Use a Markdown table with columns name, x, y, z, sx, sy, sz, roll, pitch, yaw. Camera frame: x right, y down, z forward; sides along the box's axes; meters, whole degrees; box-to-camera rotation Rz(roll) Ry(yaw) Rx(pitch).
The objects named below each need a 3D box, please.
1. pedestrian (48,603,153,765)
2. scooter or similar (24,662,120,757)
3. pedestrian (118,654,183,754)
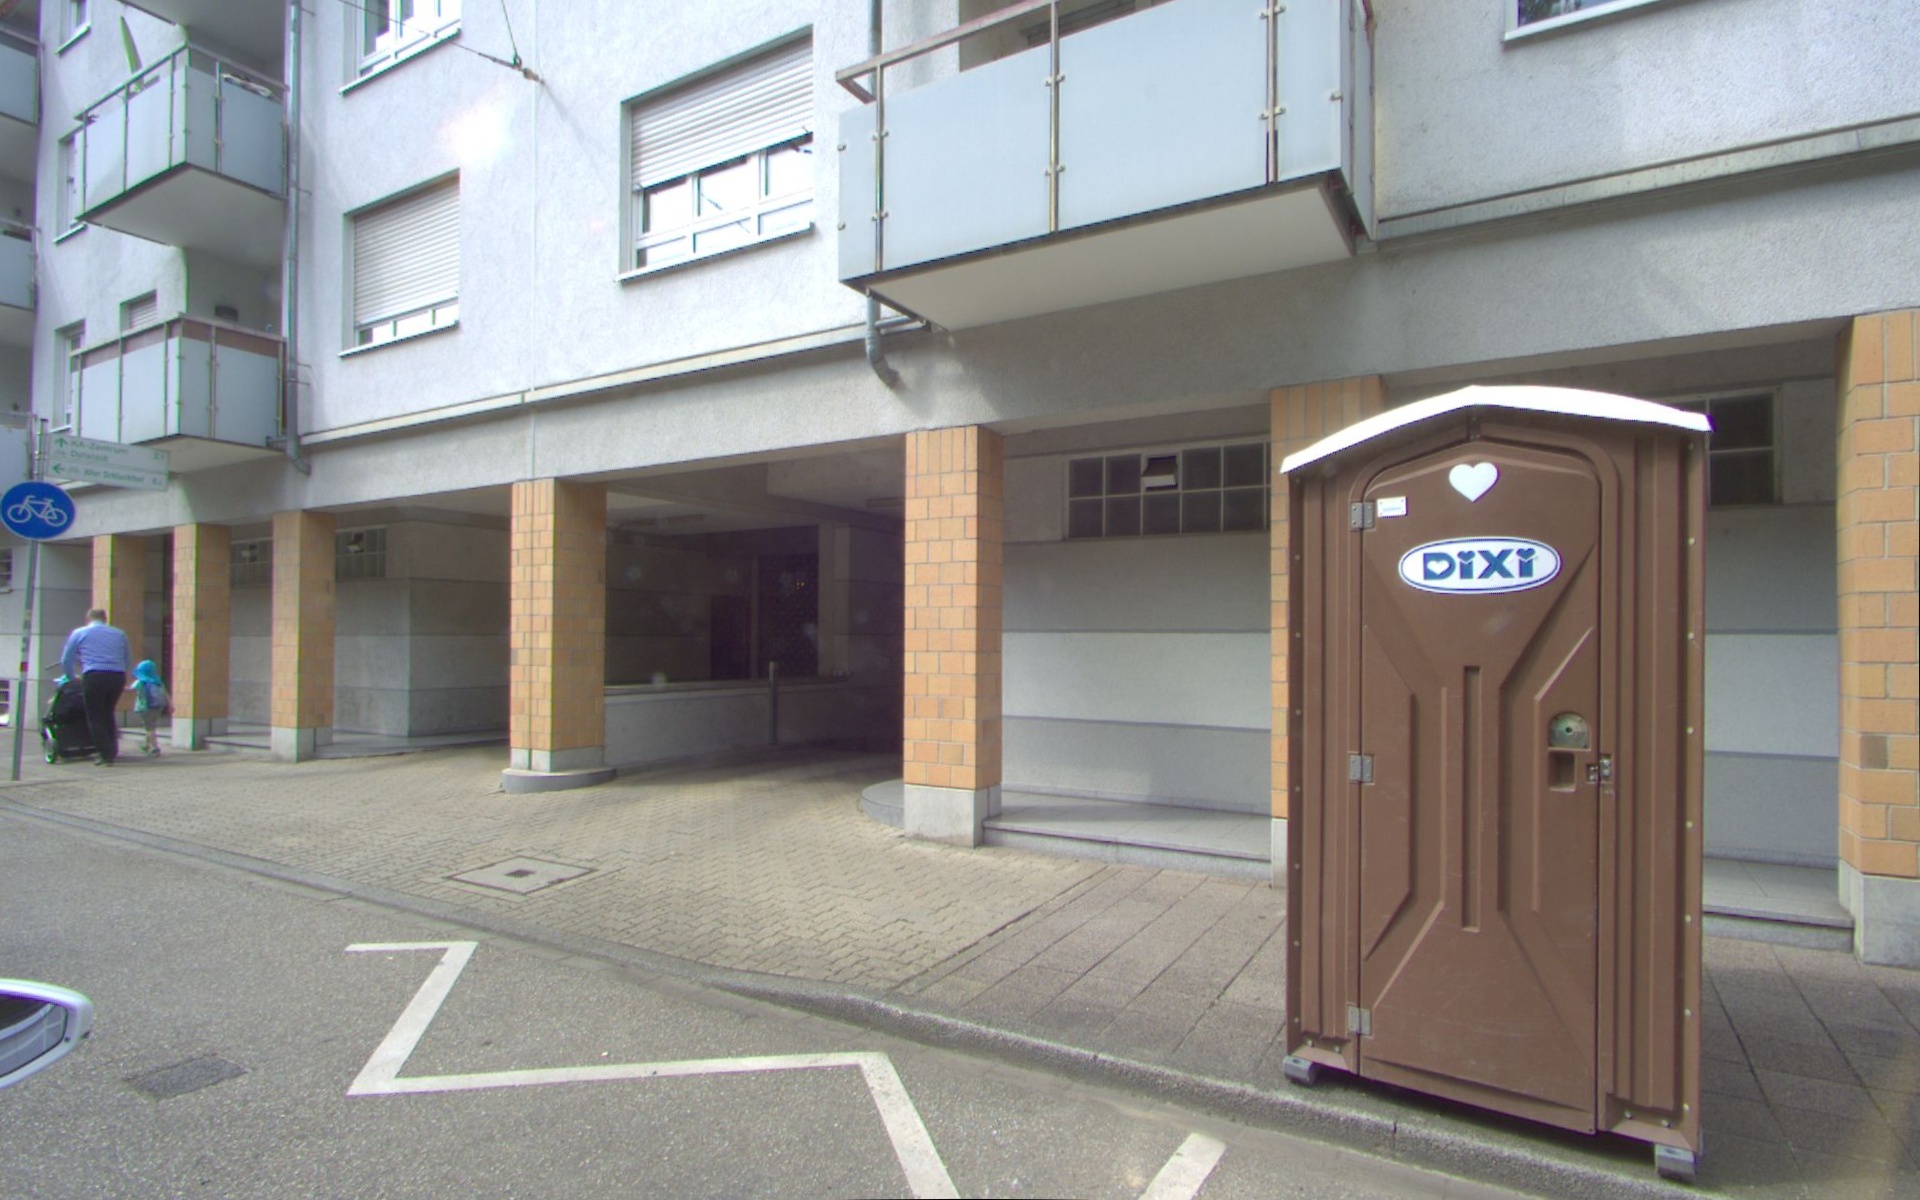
| name | x | y | z | sx | sy | sz | roll | pitch | yaw |
| --- | --- | --- | --- | --- | --- | --- | --- | --- | --- |
| pedestrian | -9.815 | 0.925 | 11.435 | 0.865 | 1.762 | 0.619 | 0 | 2 | 32 |
| scooter or similar | -10.510 | 1.270 | 11.854 | 0.893 | 1.016 | 0.591 | -1 | 2 | 32 |
| pedestrian | -9.816 | 1.249 | 12.151 | 0.487 | 1.150 | 0.455 | 0 | 1 | 32 |
